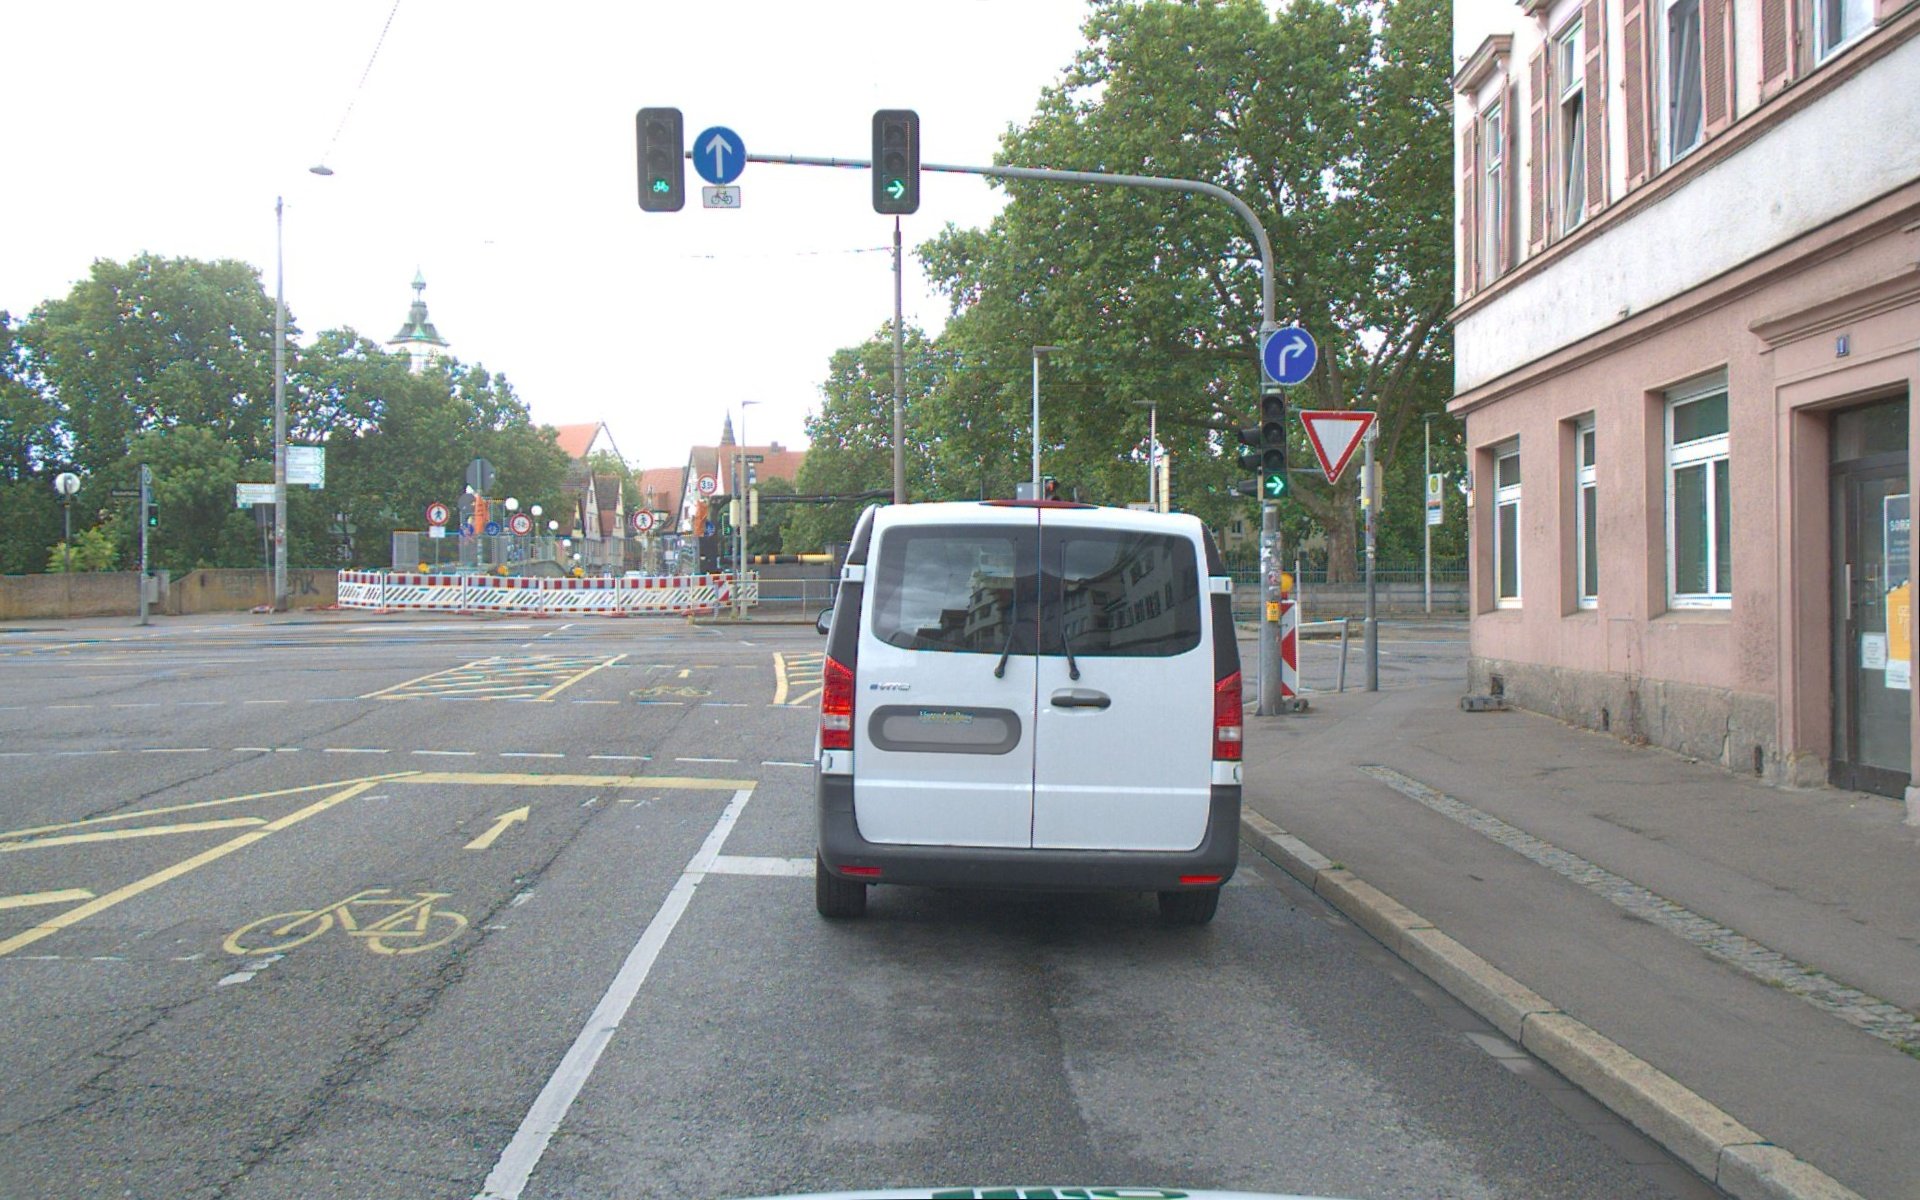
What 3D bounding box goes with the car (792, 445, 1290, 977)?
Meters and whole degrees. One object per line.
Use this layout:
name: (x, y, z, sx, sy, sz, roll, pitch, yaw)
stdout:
car: (0.285, 0.375, 8.807, 1.911, 2.048, 4.698, 1, 2, -1)
